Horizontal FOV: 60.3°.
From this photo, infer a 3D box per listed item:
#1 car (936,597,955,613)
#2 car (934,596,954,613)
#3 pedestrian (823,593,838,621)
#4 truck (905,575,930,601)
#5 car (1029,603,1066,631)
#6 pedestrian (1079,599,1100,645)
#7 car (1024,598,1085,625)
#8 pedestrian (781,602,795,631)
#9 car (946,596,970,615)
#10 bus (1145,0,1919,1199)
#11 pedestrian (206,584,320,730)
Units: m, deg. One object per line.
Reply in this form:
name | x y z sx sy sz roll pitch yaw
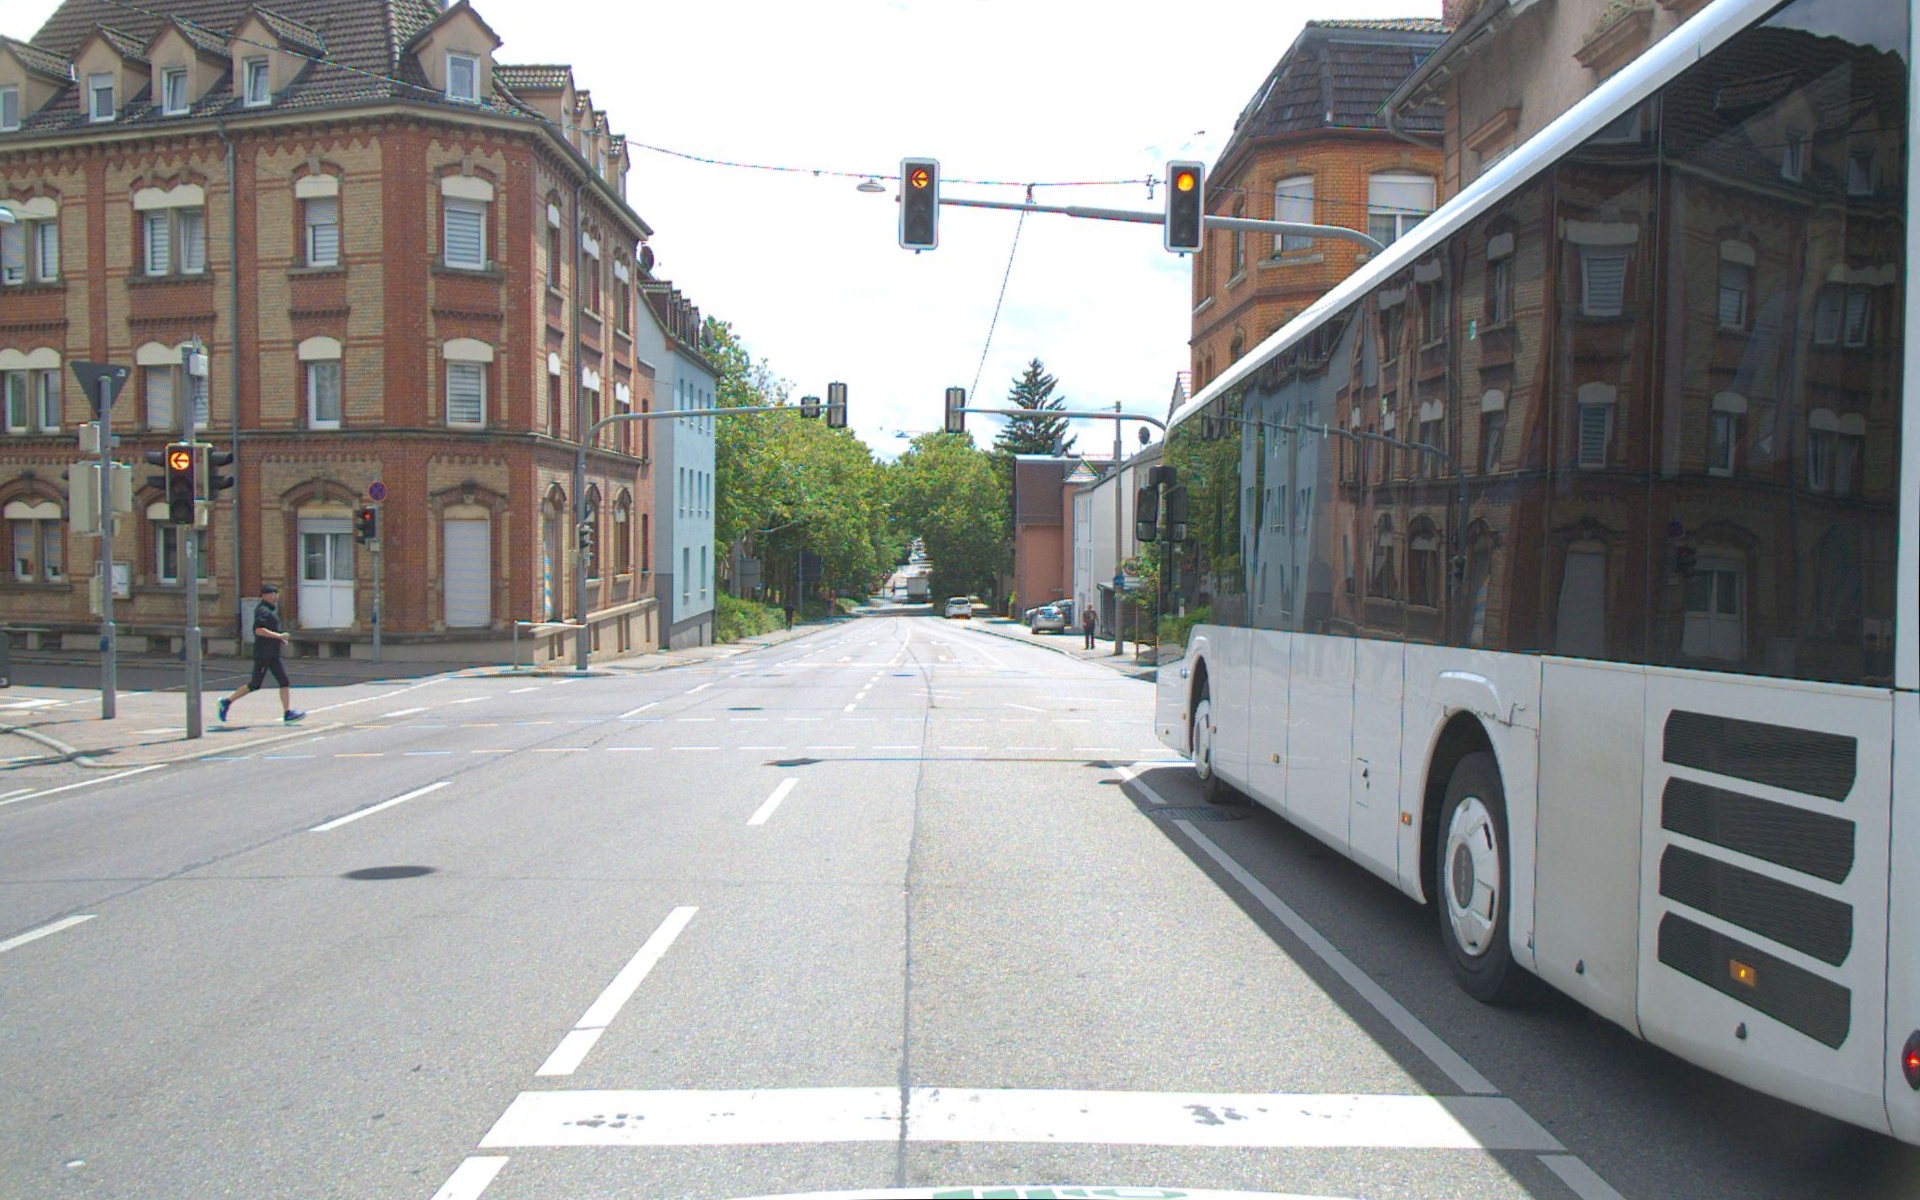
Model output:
car | -1.341 0.499 153.897 1.757 1.434 4.418 1 0 0
car | -1.410 0.389 145.898 1.757 1.434 4.418 1 0 0
pedestrian | -9.611 0.501 122.883 0.974 2.049 1.188 0 0 -1
truck | -5.393 -1.531 209.417 2.868 3.135 7.881 -1 0 -3
car | 4.912 0.937 93.125 1.758 1.434 3.999 -1 1 -2
pedestrian | 5.029 0.858 64.158 0.723 1.781 0.619 -1 0 -1
car | 6.484 0.768 113.250 3.909 1.788 1.998 -1 0 -6
pedestrian | -9.586 0.905 92.074 0.714 1.592 0.560 0 0 -2
car | -0.175 0.443 129.493 1.758 1.434 3.999 1 0 -1
bus | 3.120 -0.160 9.246 2.618 3.211 12.459 0 0 -1
pedestrian | -8.625 0.687 20.497 1.118 1.765 0.758 0 0 -5
